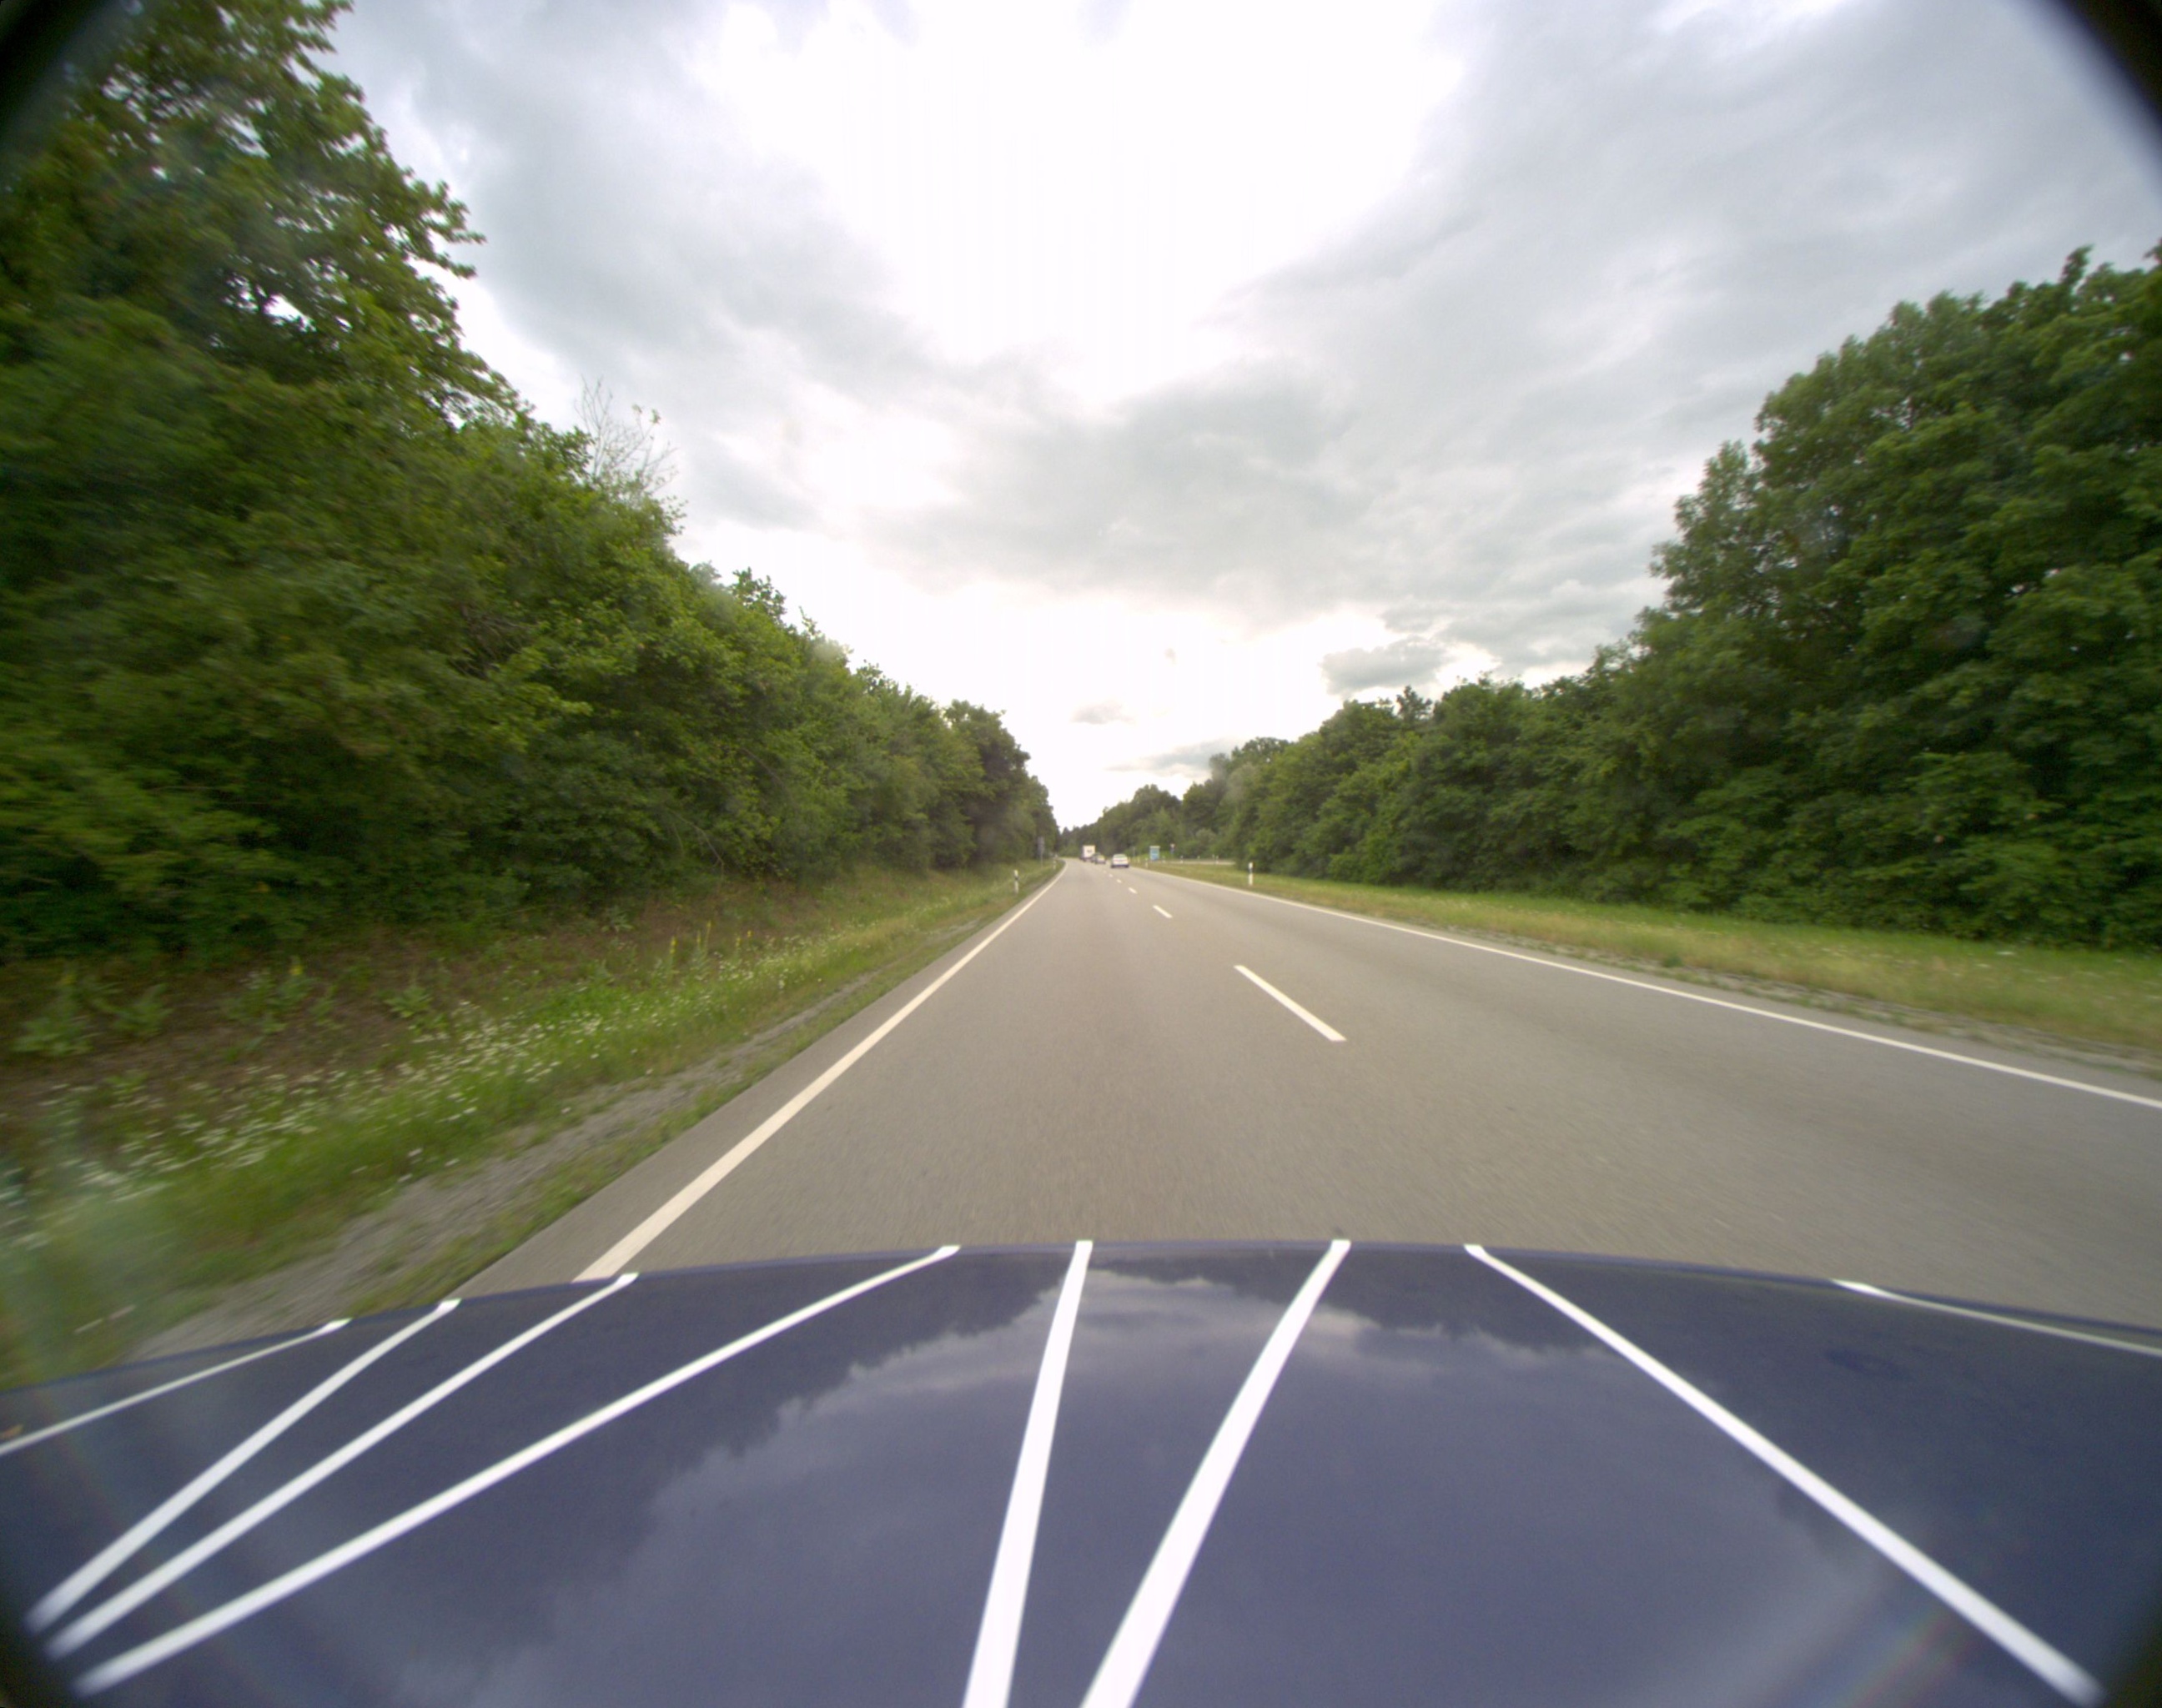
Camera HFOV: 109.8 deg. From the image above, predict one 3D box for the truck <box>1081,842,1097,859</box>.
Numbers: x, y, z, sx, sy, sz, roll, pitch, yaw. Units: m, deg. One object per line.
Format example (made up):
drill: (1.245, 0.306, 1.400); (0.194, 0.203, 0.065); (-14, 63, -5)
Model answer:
truck: (2.034, -0.814, 190.147); (3.199, 4.039, 9.572); (-2, 1, -3)

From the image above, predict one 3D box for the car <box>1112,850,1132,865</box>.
car: (4.676, 0.384, 87.245); (1.969, 1.565, 5.451); (-2, 1, 0)

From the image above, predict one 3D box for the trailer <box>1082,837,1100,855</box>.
trailer: (2.383, -1.804, 183.709); (3.212, 4.043, 14.266); (-2, 1, -4)

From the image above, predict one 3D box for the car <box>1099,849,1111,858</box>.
car: (4.015, -0.164, 127.549); (1.730, 1.426, 4.502); (-2, 1, 0)

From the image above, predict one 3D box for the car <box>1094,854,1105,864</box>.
car: (3.790, 1.040, 157.110); (1.999, 1.929, 5.810); (-2, 1, 0)
